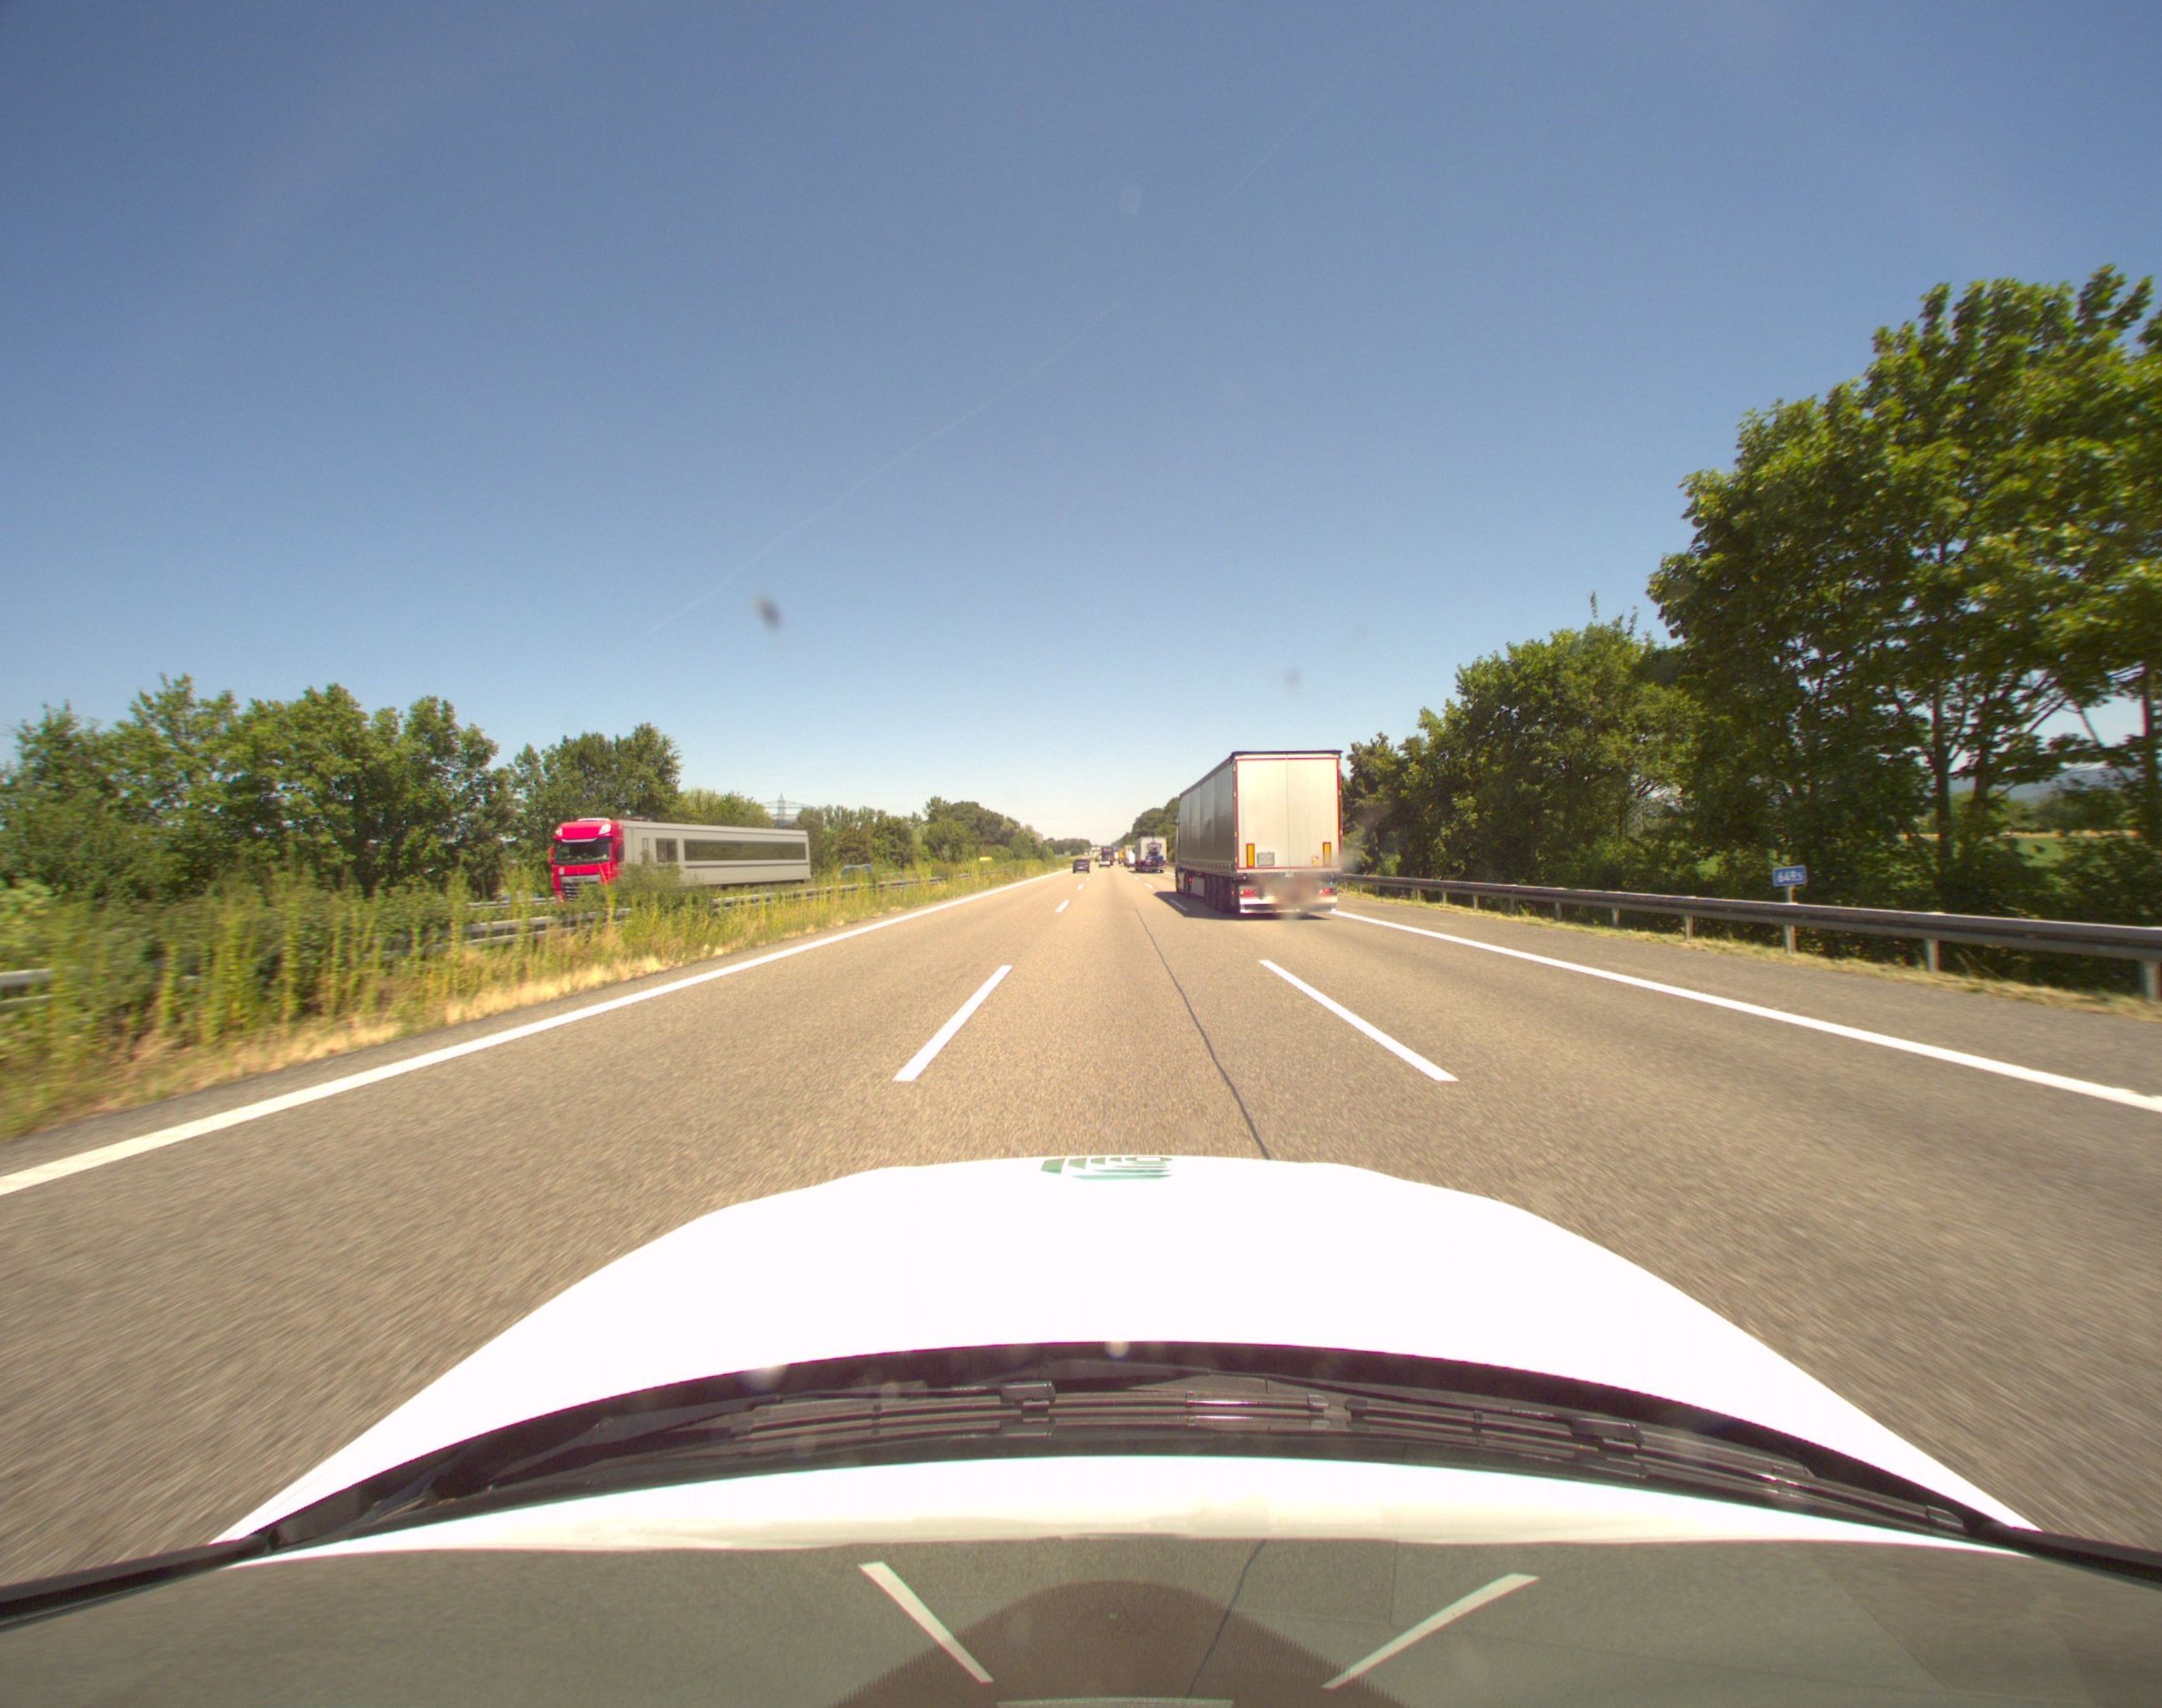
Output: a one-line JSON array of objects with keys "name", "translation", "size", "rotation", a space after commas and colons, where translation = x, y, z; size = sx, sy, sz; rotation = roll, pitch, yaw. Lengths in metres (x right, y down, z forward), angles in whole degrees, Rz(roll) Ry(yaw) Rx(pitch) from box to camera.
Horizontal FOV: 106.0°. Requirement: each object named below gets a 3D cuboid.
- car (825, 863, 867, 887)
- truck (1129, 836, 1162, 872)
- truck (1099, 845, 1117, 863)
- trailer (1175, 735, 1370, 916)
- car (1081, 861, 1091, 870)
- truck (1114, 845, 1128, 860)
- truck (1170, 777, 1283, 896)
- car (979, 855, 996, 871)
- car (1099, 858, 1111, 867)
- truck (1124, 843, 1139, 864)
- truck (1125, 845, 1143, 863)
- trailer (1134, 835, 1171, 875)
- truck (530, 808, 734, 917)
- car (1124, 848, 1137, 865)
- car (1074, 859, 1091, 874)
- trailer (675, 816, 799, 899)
[{"name": "car", "translation": [-15.422, 1.363, 53.655], "size": [1.600, 1.442, 4.043], "rotation": [0, 1, 0]}, {"name": "truck", "translation": [7.310, -0.045, 94.163], "size": [3.048, 3.879, 10.032], "rotation": [0, 1, 0]}, {"name": "truck", "translation": [5.841, -0.055, 172.486], "size": [3.652, 3.725, 7.114], "rotation": [0, 1, 3]}, {"name": "trailer", "translation": [5.219, -0.641, 25.649], "size": [3.421, 4.181, 13.639], "rotation": [0, 0, 2]}, {"name": "car", "translation": [0.946, 2.169, 150.232], "size": [1.893, 1.531, 4.086], "rotation": [0, 1, 2]}, {"name": "truck", "translation": [10.606, -0.444, 214.513], "size": [3.475, 3.725, 7.114], "rotation": [0, 1, 3]}, {"name": "truck", "translation": [5.462, -0.579, 31.941], "size": [3.451, 4.177, 6.847], "rotation": [0, -1, 2]}, {"name": "car", "translation": [-16.258, 1.595, 141.708], "size": [2.096, 2.557, 6.183], "rotation": [-2, 1, -1]}, {"name": "car", "translation": [4.074, 1.456, 138.173], "size": [1.893, 1.531, 4.086], "rotation": [0, 1, 2]}, {"name": "truck", "translation": [9.390, -0.123, 151.673], "size": [2.781, 3.725, 7.114], "rotation": [0, 1, 3]}, {"name": "truck", "translation": [11.178, -0.085, 172.611], "size": [3.652, 3.725, 7.114], "rotation": [0, 1, 3]}, {"name": "trailer", "translation": [7.242, 0.042, 84.194], "size": [3.111, 3.926, 9.938], "rotation": [0, 1, 1]}, {"name": "truck", "translation": [-19.942, 0.269, 37.335], "size": [3.059, 4.310, 10.633], "rotation": [0, 1, 2]}, {"name": "car", "translation": [7.676, 0.378, 126.106], "size": [1.900, 2.425, 4.287], "rotation": [0, 1, 2]}, {"name": "car", "translation": [0.175, 1.307, 88.227], "size": [1.752, 1.531, 4.287], "rotation": [0, 1, 2]}, {"name": "trailer", "translation": [-19.573, 0.128, 47.201], "size": [3.036, 4.325, 9.036], "rotation": [-1, 1, 2]}]
